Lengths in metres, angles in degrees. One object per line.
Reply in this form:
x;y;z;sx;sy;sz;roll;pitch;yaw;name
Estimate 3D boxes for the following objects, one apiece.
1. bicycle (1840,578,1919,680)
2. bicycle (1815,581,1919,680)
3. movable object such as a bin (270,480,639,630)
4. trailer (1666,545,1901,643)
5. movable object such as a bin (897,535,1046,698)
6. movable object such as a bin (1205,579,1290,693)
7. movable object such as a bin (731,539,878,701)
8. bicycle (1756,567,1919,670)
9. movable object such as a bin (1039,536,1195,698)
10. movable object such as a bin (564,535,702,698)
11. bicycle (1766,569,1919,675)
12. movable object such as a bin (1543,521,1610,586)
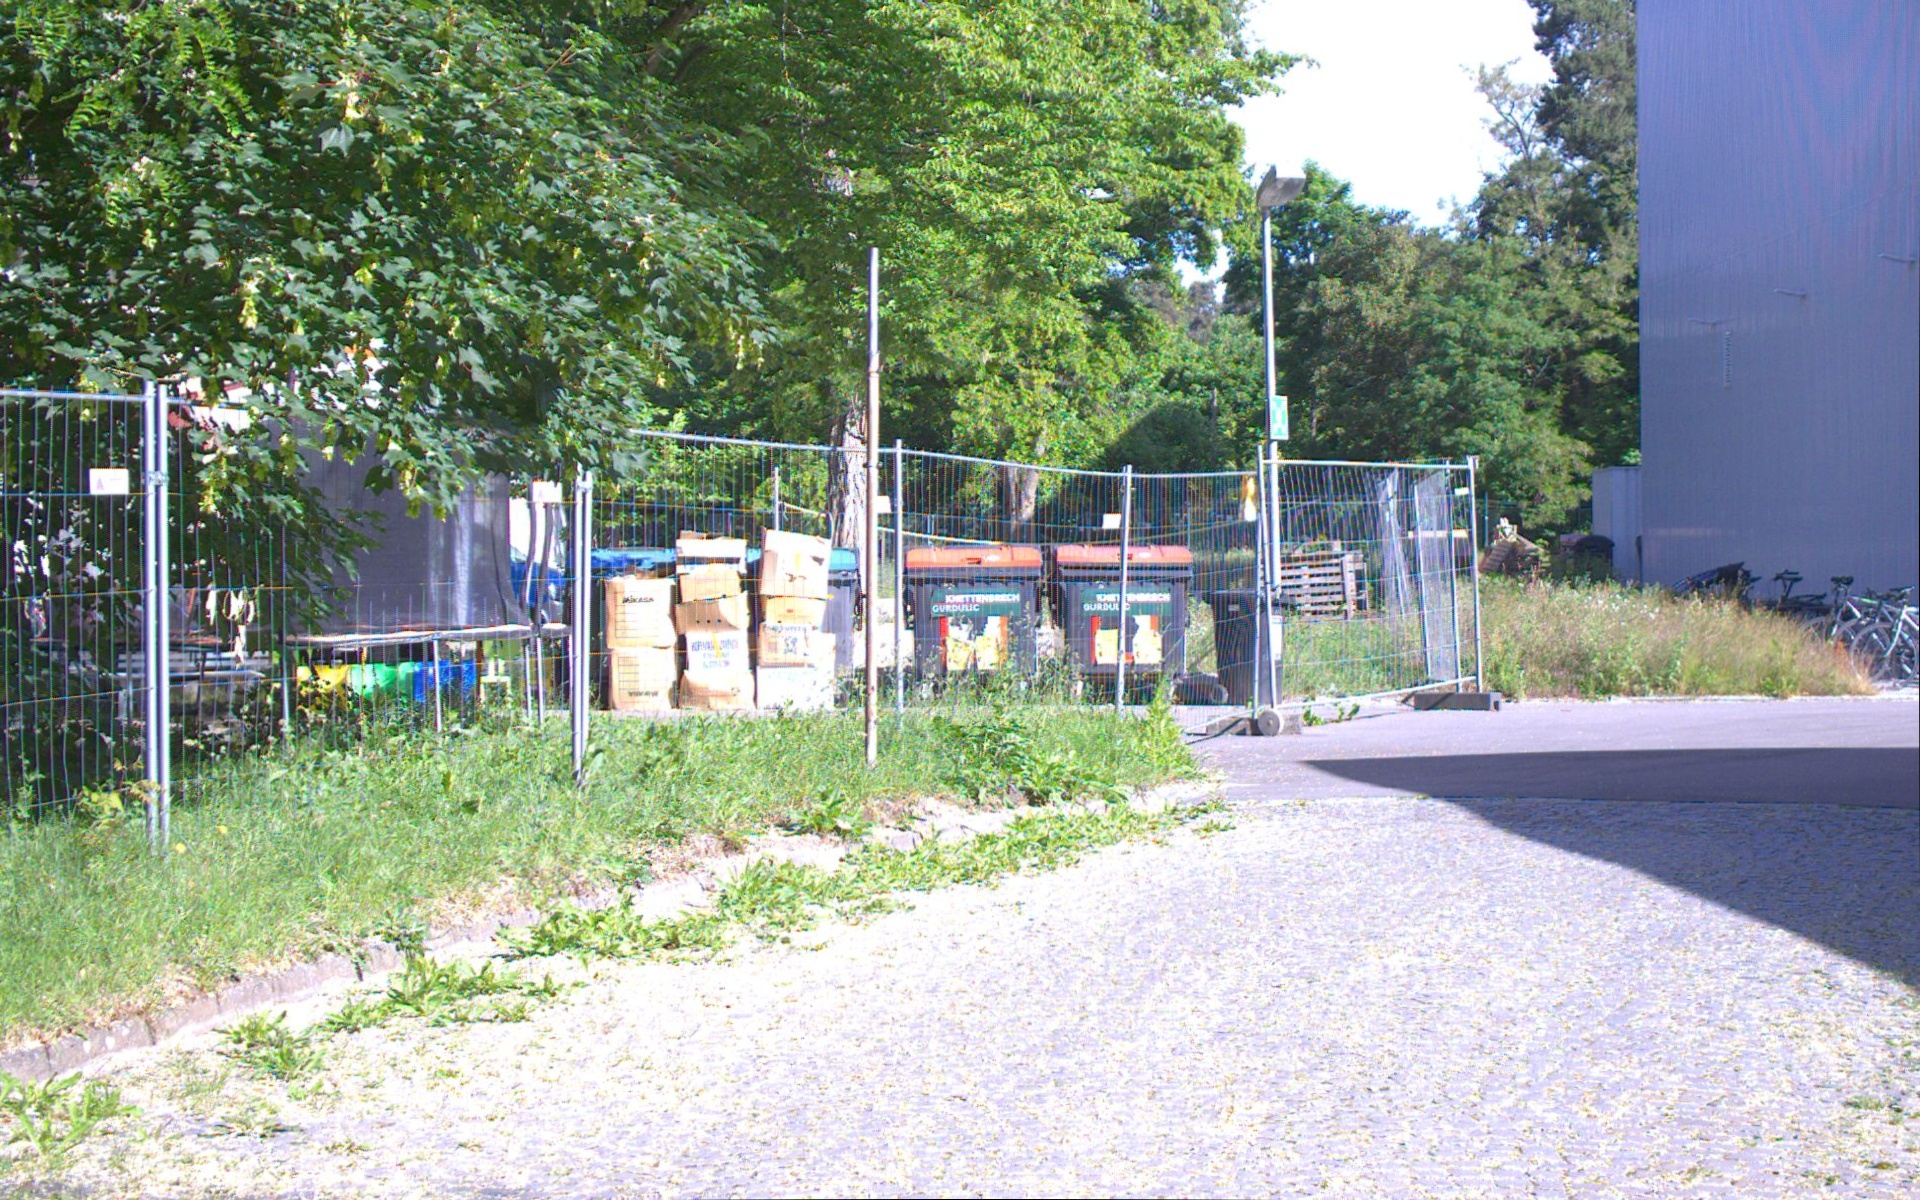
9.600;0.267;33.596;1.883;0.974;0.433;-1;1;0;bicycle
9.659;0.302;34.810;1.883;0.974;0.433;-1;1;0;bicycle
-6.972;-0.629;47.800;4.871;1.963;1.933;-1;1;-2;movable object such as a bin
10.626;-0.085;44.451;2.710;1.195;1.246;-1;1;0;trailer
0.093;0.140;31.032;1.287;1.421;1.032;-1;1;-2;movable object such as a bin
2.586;0.320;30.866;0.642;1.004;0.604;-1;1;16;movable object such as a bin
-1.399;0.170;31.047;1.287;1.421;1.032;-1;1;-2;movable object such as a bin
9.951;0.208;38.651;1.883;1.122;0.433;-1;1;0;bicycle
1.407;0.143;31.087;1.287;1.421;1.032;-1;1;-3;movable object such as a bin
-2.950;0.141;31.107;1.084;1.433;1.056;-1;1;2;movable object such as a bin
9.456;0.229;36.059;1.883;1.078;0.433;-1;1;0;bicycle
16.154;-1.218;90.162;1.363;1.650;2.842;-1;1;3;movable object such as a bin
